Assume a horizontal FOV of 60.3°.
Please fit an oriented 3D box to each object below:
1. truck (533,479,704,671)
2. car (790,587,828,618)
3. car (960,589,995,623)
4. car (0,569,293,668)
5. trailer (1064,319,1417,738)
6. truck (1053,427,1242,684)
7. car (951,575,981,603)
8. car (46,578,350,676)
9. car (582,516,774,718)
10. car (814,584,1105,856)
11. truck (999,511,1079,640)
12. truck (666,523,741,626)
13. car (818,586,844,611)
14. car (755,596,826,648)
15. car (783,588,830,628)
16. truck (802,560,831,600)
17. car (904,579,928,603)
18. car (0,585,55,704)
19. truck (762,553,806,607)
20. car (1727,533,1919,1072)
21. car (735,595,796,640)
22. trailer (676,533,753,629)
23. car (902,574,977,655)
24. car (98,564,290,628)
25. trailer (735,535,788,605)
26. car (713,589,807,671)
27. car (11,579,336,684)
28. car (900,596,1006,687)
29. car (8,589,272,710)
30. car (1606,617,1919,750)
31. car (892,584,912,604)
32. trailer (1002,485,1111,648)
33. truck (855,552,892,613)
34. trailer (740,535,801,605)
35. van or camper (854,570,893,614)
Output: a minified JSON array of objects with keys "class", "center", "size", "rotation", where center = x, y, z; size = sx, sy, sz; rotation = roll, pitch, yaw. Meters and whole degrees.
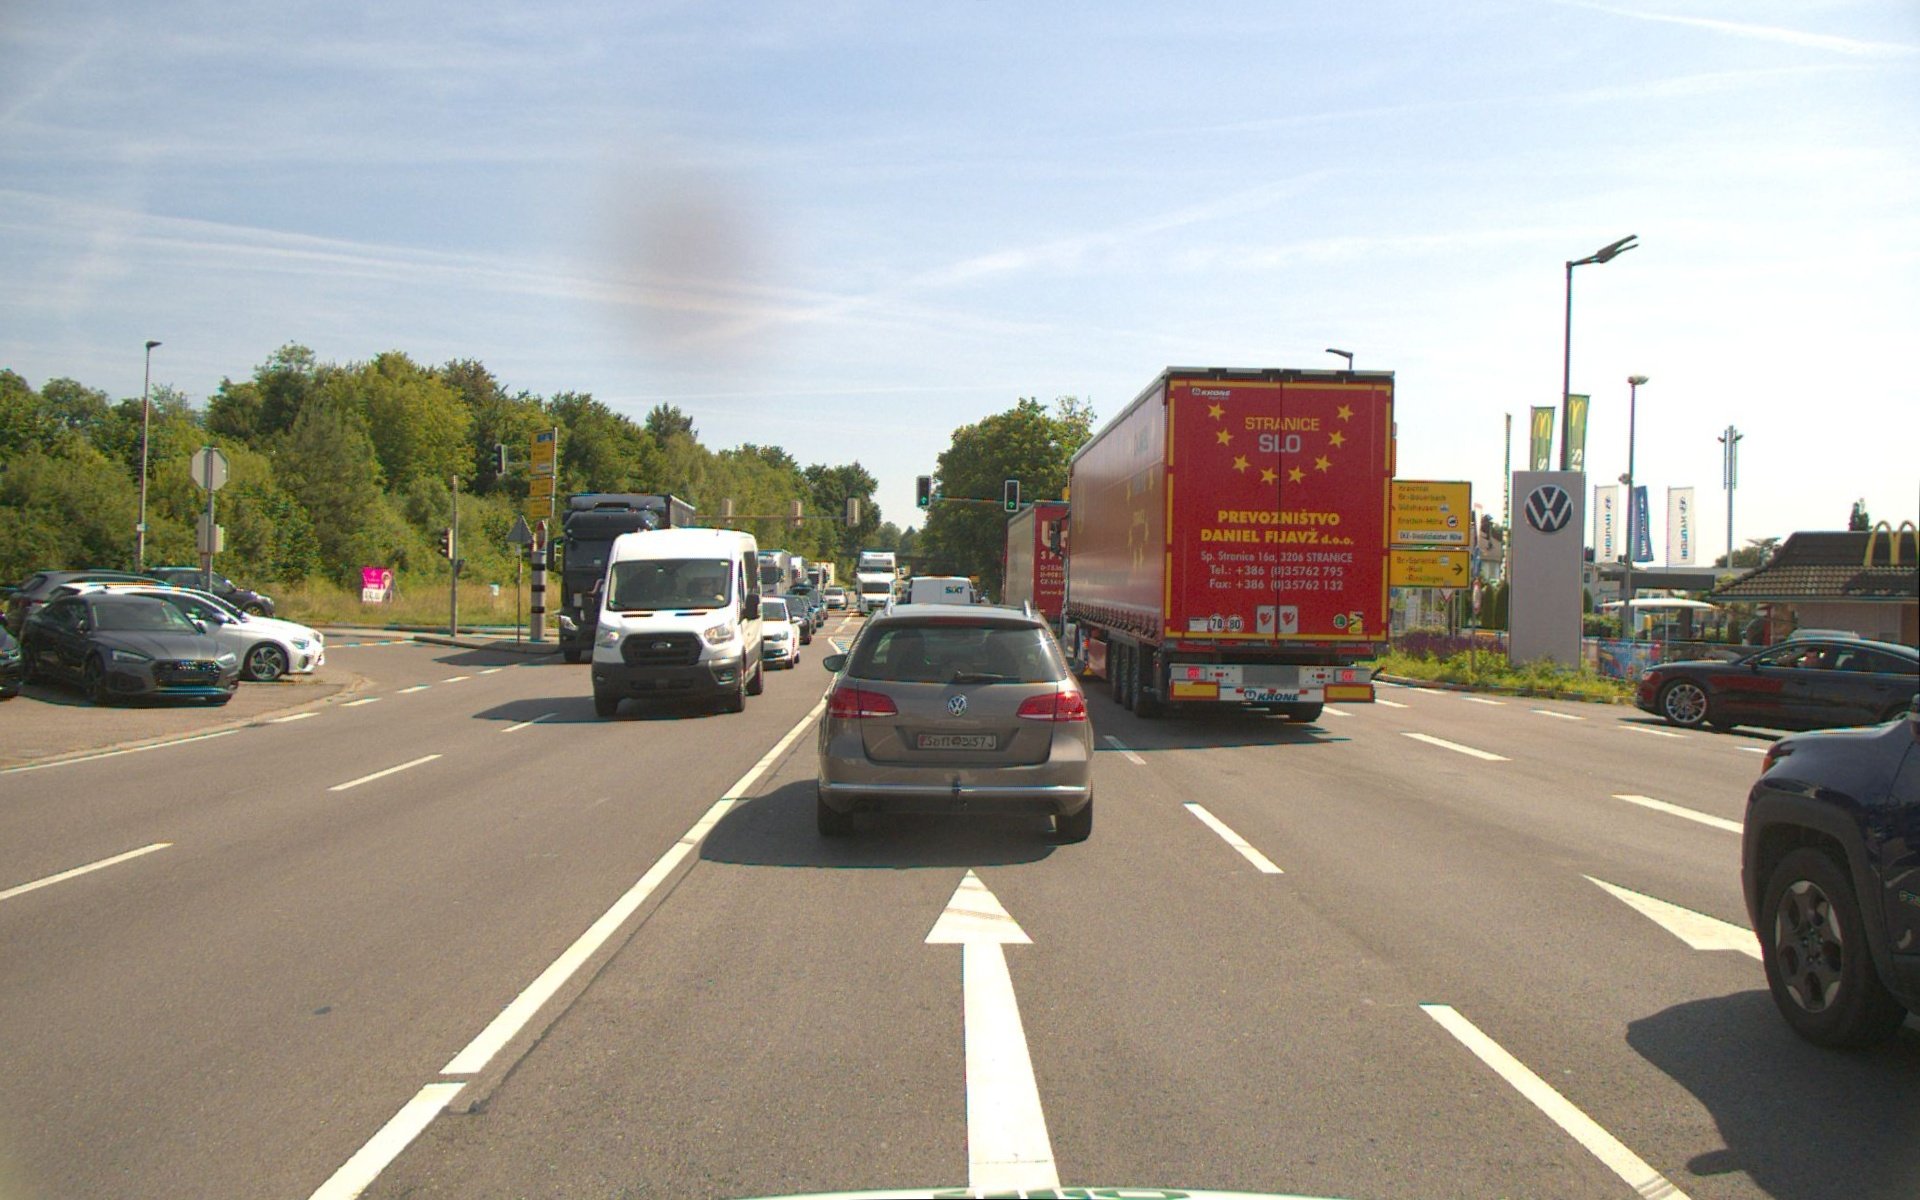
[{"class":"truck","center":[-8.022,-0.549,40.153],"size":[2.657,4.068,9.969],"rotation":[0,0,-4]},{"class":"car","center":[-8.204,0.117,90.390],"size":[1.883,1.630,4.586],"rotation":[-1,1,-3]},{"class":"car","center":[1.054,0.379,101.816],"size":[1.954,2.049,3.997],"rotation":[0,0,-3]},{"class":"car","center":[-15.683,0.386,31.985],"size":[4.757,1.654,1.902],"rotation":[4,-2,-43]},{"class":"trailer","center":[3.460,-0.791,24.513],"size":[2.781,4.441,13.166],"rotation":[2,0,0]},{"class":"truck","center":[3.418,-0.775,31.601],"size":[2.811,4.355,5.839],"rotation":[2,0,0]},{"class":"car","center":[0.434,-0.799,119.917],"size":[1.954,2.049,3.997],"rotation":[0,0,-3]},{"class":"car","center":[-13.938,0.525,30.416],"size":[4.674,1.539,1.926],"rotation":[4,-1,-42]},{"class":"car","center":[-3.964,0.199,24.484],"size":[2.018,2.554,7.109],"rotation":[0,0,-3]},{"class":"car","center":[-0.110,0.672,11.398],"size":[1.658,1.539,3.997],"rotation":[0,0,-3]},{"class":"truck","center":[2.649,-0.801,56.798],"size":[2.357,4.200,5.520],"rotation":[0,0,-1]},{"class":"truck","center":[-10.583,-1.031,68.679],"size":[2.667,4.068,6.051],"rotation":[0,0,-5]},{"class":"car","center":[-9.628,-0.113,123.889],"size":[1.806,1.763,4.586],"rotation":[2,1,-3]},{"class":"car","center":[-5.074,0.630,49.987],"size":[1.676,1.469,4.378],"rotation":[-2,0,0]},{"class":"car","center":[-6.749,0.319,73.178],"size":[1.870,1.630,4.586],"rotation":[-1,1,-3]},{"class":"truck","center":[-14.987,-2.042,172.937],"size":[2.675,4.069,9.614],"rotation":[0,0,-3]},{"class":"car","center":[-3.798,-0.758,142.465],"size":[1.954,2.049,3.997],"rotation":[0,0,-3]},{"class":"car","center":[-14.285,0.529,22.867],"size":[4.268,1.512,1.788],"rotation":[3,1,42]},{"class":"truck","center":[-13.762,-1.539,129.960],"size":[3.124,4.151,6.342],"rotation":[0,0,-3]},{"class":"car","center":[3.874,0.636,4.441],"size":[1.734,1.683,3.999],"rotation":[0,0,-1]},{"class":"car","center":[-7.200,0.624,61.527],"size":[1.824,1.550,4.587],"rotation":[-1,1,-2]},{"class":"trailer","center":[-11.100,-0.822,75.673],"size":[2.667,4.068,12.222],"rotation":[0,0,-5]},{"class":"car","center":[-0.564,0.336,42.324],"size":[1.735,1.970,3.975],"rotation":[0,0,-3]},{"class":"car","center":[-21.941,-0.099,47.499],"size":[1.883,1.554,4.604],"rotation":[2,-1,44]},{"class":"trailer","center":[-12.118,-1.780,101.360],"size":[2.591,4.176,6.179],"rotation":[0,0,-1]},{"class":"car","center":[-4.202,0.597,35.215],"size":[1.620,1.583,3.998],"rotation":[-2,0,-2]},{"class":"car","center":[-13.201,0.547,27.878],"size":[4.661,1.501,1.870],"rotation":[4,-1,-35]},{"class":"car","center":[-0.186,0.700,30.272],"size":[1.735,1.539,3.997],"rotation":[0,0,-3]},{"class":"car","center":[-12.043,0.661,24.156],"size":[4.560,1.461,1.962],"rotation":[3,1,43]},{"class":"car","center":[11.297,1.131,21.819],"size":[4.737,1.355,1.952],"rotation":[5,-1,44]},{"class":"car","center":[-6.056,-0.605,171.648],"size":[1.954,2.049,3.997],"rotation":[0,0,-3]},{"class":"trailer","center":[2.733,-0.920,50.540],"size":[2.346,4.317,13.075],"rotation":[0,0,-1]},{"class":"truck","center":[-6.080,-1.206,115.197],"size":[2.487,4.159,6.261],"rotation":[0,0,-4]},{"class":"trailer","center":[-12.252,-1.862,107.984],"size":[2.637,4.220,13.876],"rotation":[0,0,-1]},{"class":"van or camper","center":[-5.268,-0.487,101.459],"size":[2.283,2.645,6.976],"rotation":[0,0,-2]}]
